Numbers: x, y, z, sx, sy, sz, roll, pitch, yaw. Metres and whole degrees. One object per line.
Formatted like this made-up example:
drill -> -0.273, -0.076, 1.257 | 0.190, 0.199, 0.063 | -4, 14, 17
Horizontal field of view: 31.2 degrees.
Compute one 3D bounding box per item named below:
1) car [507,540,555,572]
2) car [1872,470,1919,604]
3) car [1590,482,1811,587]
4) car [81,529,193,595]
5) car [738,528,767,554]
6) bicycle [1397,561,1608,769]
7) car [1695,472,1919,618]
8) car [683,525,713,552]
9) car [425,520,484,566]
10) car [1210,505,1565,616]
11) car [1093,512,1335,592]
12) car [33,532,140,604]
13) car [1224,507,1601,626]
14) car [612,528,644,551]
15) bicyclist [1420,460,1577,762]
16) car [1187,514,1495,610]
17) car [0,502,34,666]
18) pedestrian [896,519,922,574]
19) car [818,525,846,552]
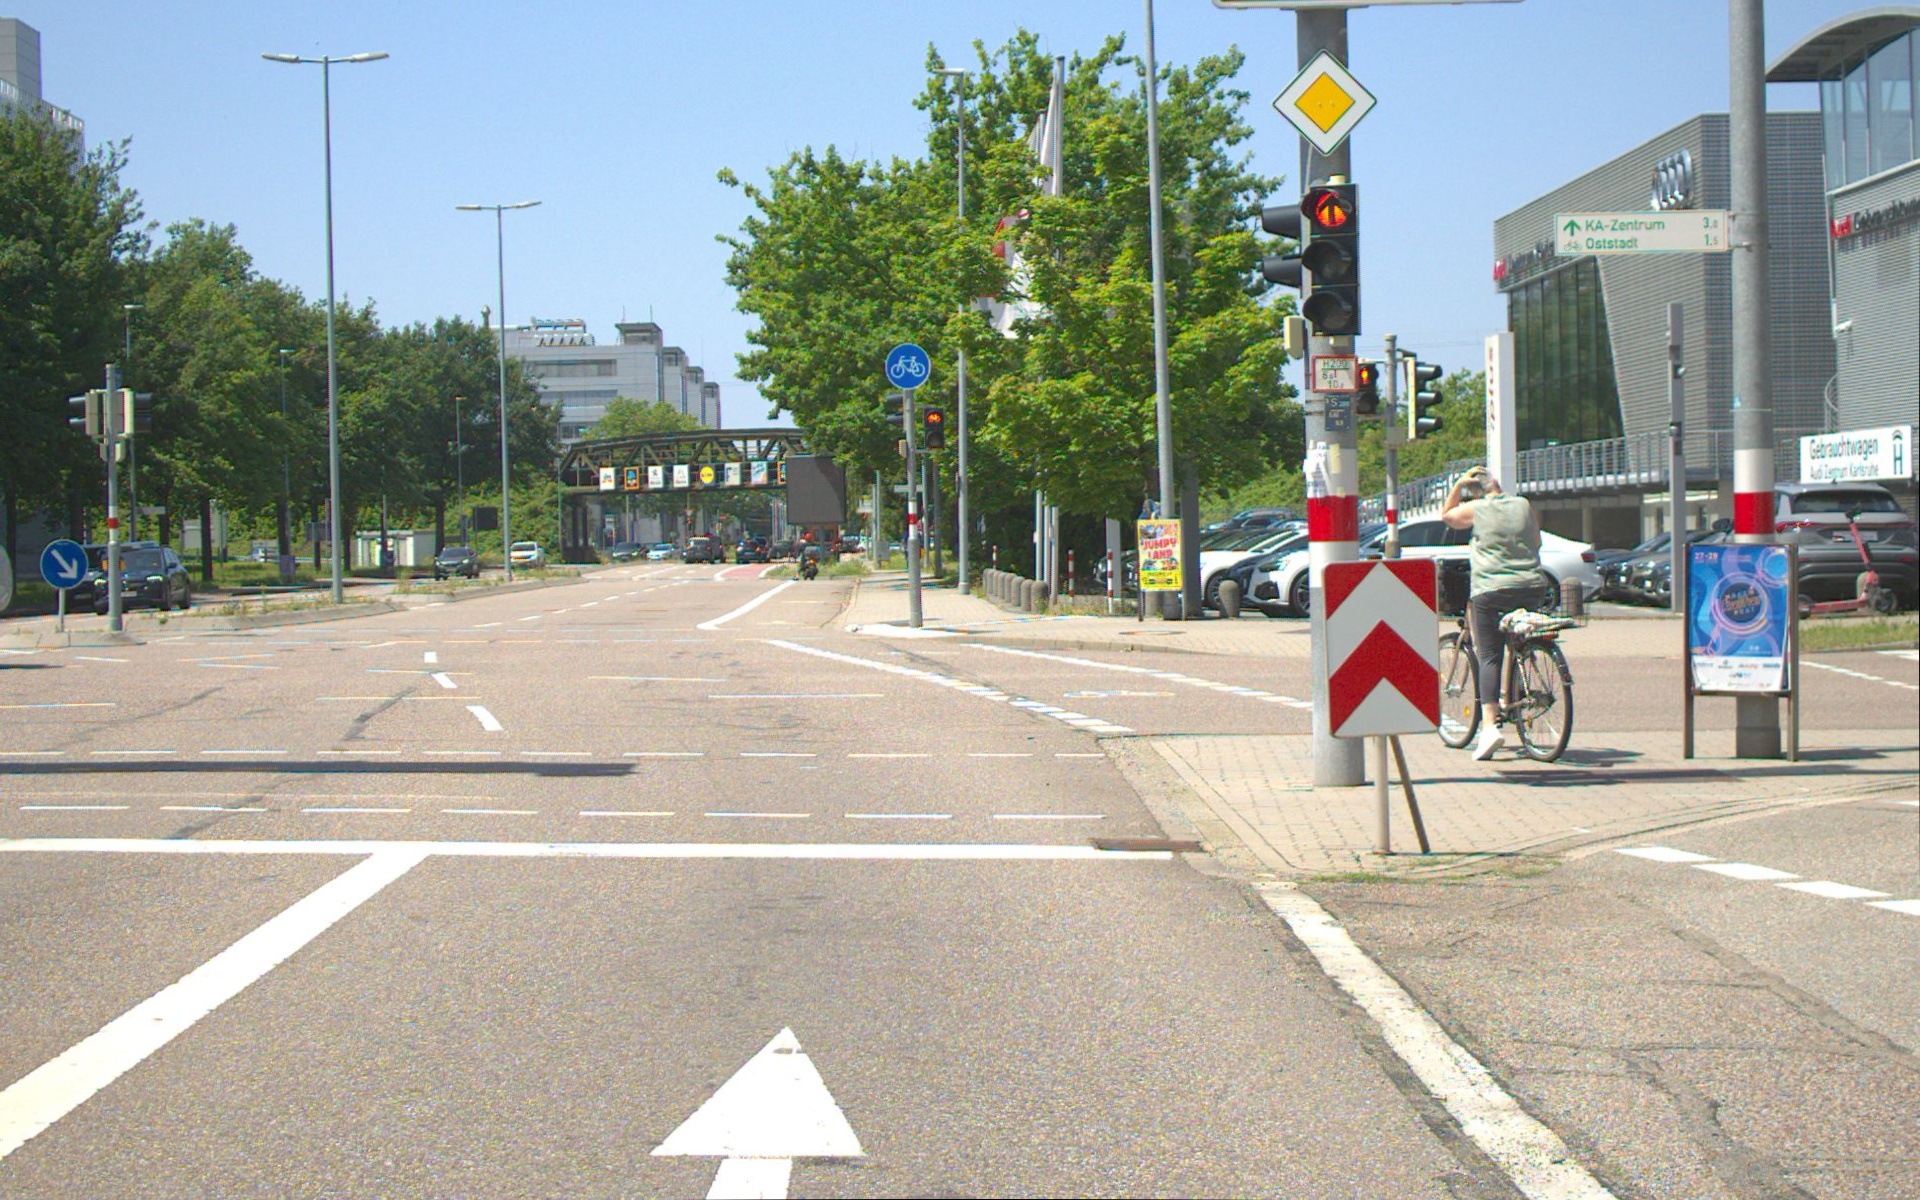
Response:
car -> -23.146, -2.396, 185.575 | 1.926, 1.659, 4.089 | -1, 1, 1
car -> 12.745, -0.778, 41.717 | 1.993, 1.634, 4.558 | -1, 2, -2
car -> 14.930, -1.329, 69.471 | 3.987, 2.007, 2.000 | -1, 1, 0
car -> -21.053, -0.994, 88.113 | 1.875, 1.593, 4.497 | -2, 1, -2
car -> -14.045, -4.007, 232.723 | 1.772, 1.722, 4.000 | -1, 1, -2
bicycle -> 3.186, 0.356, 20.363 | 0.786, 1.123, 1.921 | 0, 2, -5
car -> 10.383, -0.702, 41.470 | 1.993, 1.634, 4.269 | -1, 2, -2
car -> -17.182, -4.061, 225.659 | 1.772, 1.722, 4.000 | -1, 1, -2
car -> -23.495, -2.660, 160.044 | 1.993, 2.007, 4.000 | -1, -1, 2
car -> 5.956, -0.555, 48.327 | 4.741, 1.452, 2.000 | -1, 0, 1
car -> 5.243, -1.002, 71.340 | 4.741, 1.452, 2.000 | -2, 2, -3
car -> -25.565, -0.961, 100.769 | 1.993, 2.001, 4.765 | -1, 1, -1
car -> 5.965, -0.460, 45.737 | 4.741, 1.452, 2.000 | -1, 2, 1
car -> -21.352, -3.890, 220.926 | 1.732, 1.422, 3.706 | -3, 1, -2
bicyclist -> 3.167, 0.051, 20.254 | 0.733, 1.743, 0.754 | 0, 2, -6
car -> 6.221, -0.638, 56.438 | 4.741, 1.452, 2.000 | -1, 2, -3
car -> -11.728, -0.148, 34.816 | 4.197, 1.646, 1.714 | 0, 1, 9
pedestrian -> -1.420, -1.482, 95.269 | 0.668, 1.505, 0.736 | -1, 1, -2
car -> -8.629, -4.154, 232.092 | 1.772, 1.722, 4.000 | -1, 1, -2
